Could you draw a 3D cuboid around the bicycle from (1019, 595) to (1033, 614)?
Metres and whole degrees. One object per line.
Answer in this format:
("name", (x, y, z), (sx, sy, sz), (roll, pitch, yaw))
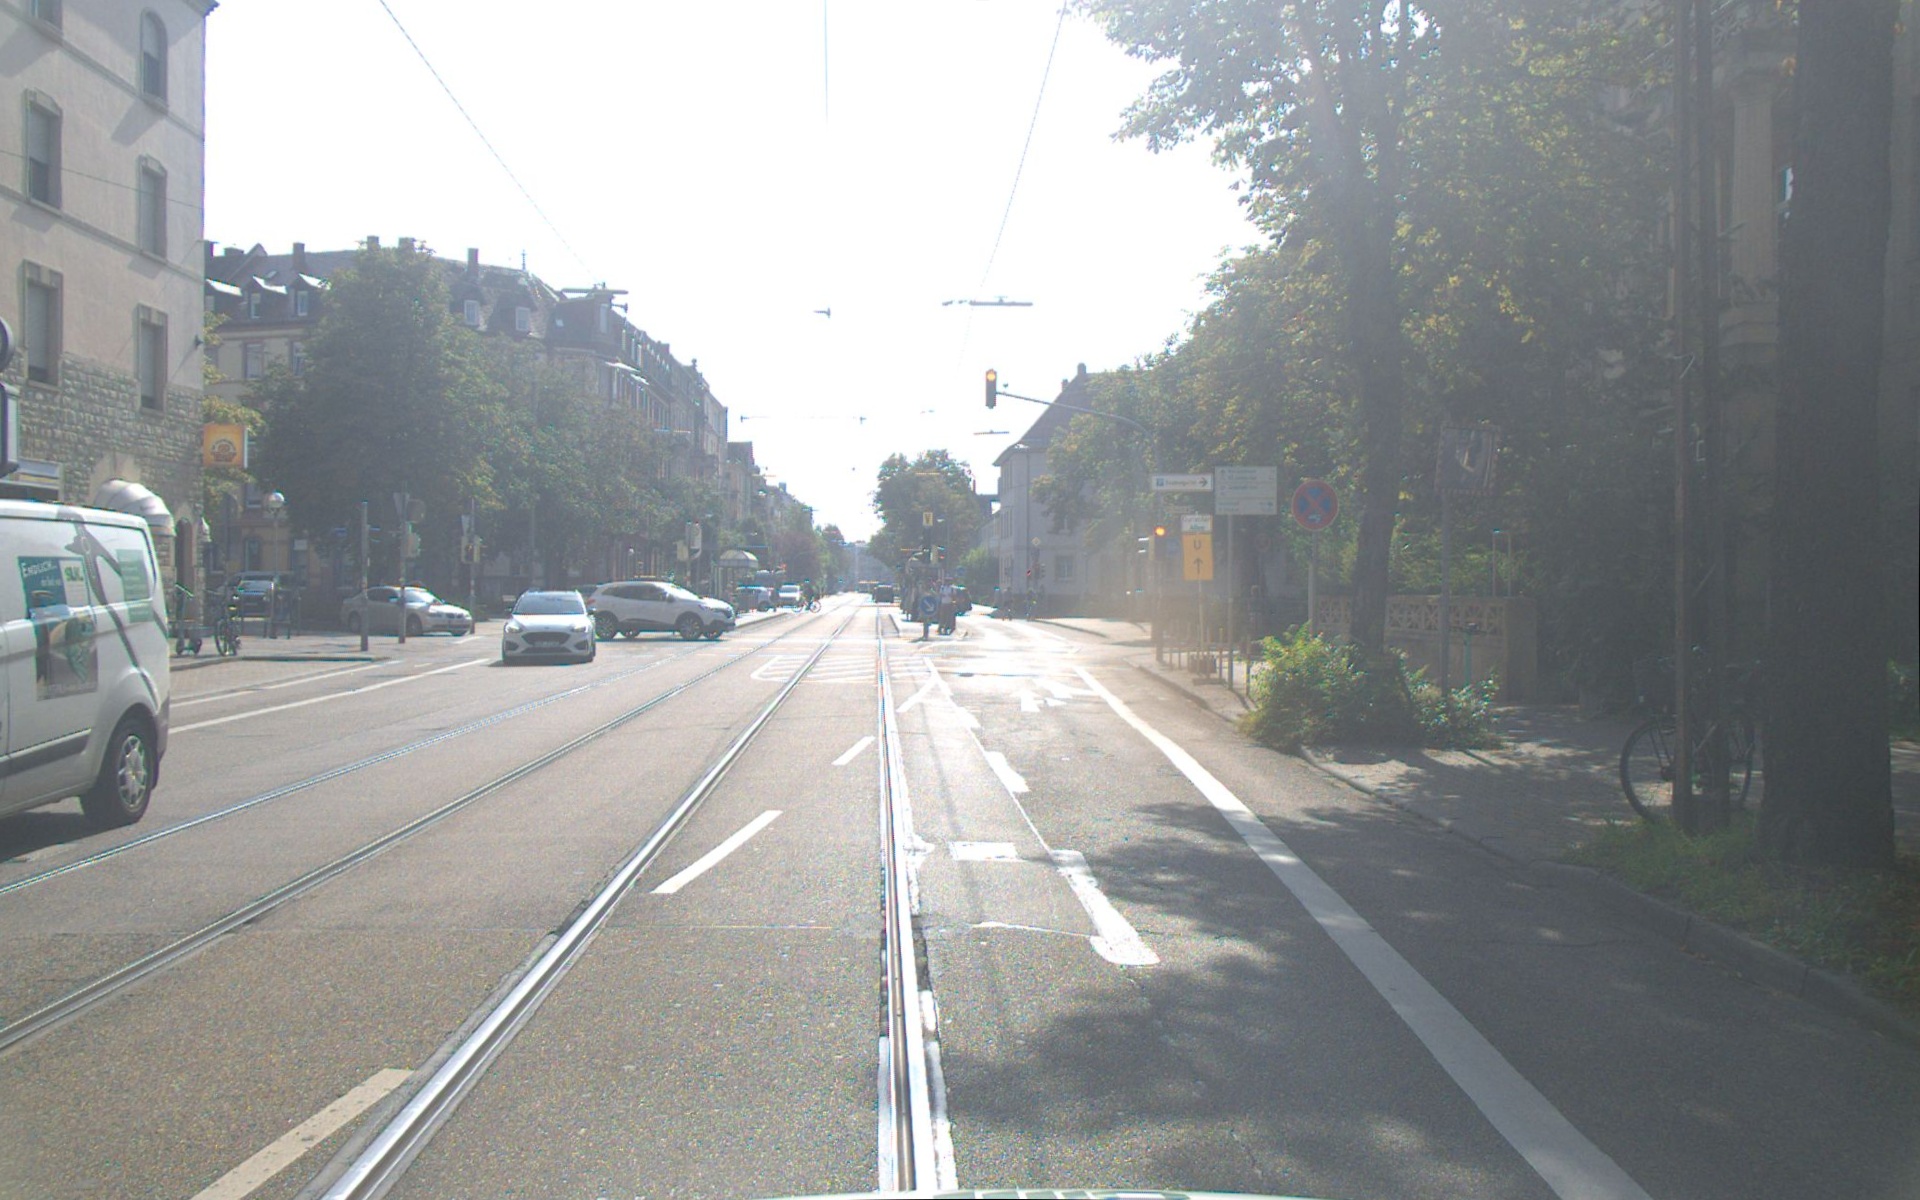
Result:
("bicycle", (3.459, 0.224, 86.511), (0.547, 0.995, 1.855), (0, 0, -4))

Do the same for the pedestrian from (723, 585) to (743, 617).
("pedestrian", (-9.973, 0.052, 72.655), (0.812, 1.382, 0.775), (0, 0, -7))

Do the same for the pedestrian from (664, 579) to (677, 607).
("pedestrian", (-19.021, -0.437, 108.626), (0.521, 1.790, 0.544), (4, 3, 23))

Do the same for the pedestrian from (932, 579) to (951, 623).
("pedestrian", (-0.768, 0.031, 68.591), (0.694, 1.790, 0.534), (3, 2, -2))

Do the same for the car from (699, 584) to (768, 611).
("car", (-13.264, -0.145, 96.830), (3.896, 1.579, 1.993), (0, 0, -13))

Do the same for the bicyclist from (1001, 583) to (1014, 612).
("bicyclist", (2.476, -0.136, 86.928), (0.616, 1.534, 0.678), (0, 0, -4))

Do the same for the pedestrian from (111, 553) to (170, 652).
("pedestrian", (-15.966, 0.045, 32.227), (0.758, 1.892, 0.829), (0, 0, -5))

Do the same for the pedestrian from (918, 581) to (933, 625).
("pedestrian", (-1.434, 0.137, 69.186), (0.532, 1.790, 0.534), (3, 2, -2))

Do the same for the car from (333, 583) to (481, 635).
("car", (-17.023, 0.249, 50.875), (4.687, 1.492, 1.864), (1, 1, 34))

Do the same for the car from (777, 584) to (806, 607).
("car", (-12.258, -0.336, 120.485), (1.765, 1.682, 3.641), (0, 0, -2))

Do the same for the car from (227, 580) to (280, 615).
("car", (-30.801, -0.124, 72.196), (1.837, 1.492, 4.758), (0, 0, -20))

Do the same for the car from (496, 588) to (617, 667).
("car", (-8.475, 0.521, 35.086), (1.836, 1.480, 4.539), (-2, 1, -6))

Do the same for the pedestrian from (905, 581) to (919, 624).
("pedestrian", (-2.040, 0.117, 70.580), (0.521, 1.790, 0.545), (3, 2, -1))

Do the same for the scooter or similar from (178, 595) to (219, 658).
("scooter or similar", (-15.007, 0.515, 32.586), (1.015, 1.218, 0.364), (0, 0, 42))

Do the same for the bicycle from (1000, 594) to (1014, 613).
("bicycle", (2.469, 0.181, 86.931), (0.616, 0.995, 1.769), (0, 0, -4))

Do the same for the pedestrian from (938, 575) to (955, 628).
("pedestrian", (-0.482, 0.065, 59.700), (0.494, 1.865, 0.534), (3, 2, -2))

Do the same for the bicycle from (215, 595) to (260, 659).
("bicycle", (-14.466, 0.521, 33.149), (0.445, 1.248, 1.852), (0, 0, -12))

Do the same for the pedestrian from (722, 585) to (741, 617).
("pedestrian", (-9.910, 0.057, 71.680), (0.812, 1.382, 0.775), (0, 0, -7))

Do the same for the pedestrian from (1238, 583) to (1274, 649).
("pedestrian", (8.076, 0.433, 45.131), (0.736, 1.761, 0.769), (0, 0, -11))

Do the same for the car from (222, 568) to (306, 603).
("car", (-38.206, -0.810, 90.764), (3.904, 1.860, 2.001), (1, 0, 19))

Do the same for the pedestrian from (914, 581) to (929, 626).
("pedestrian", (-1.609, 0.142, 68.369), (0.532, 1.790, 0.534), (3, 2, -2))

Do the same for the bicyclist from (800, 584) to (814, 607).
("bicyclist", (-9.134, -0.287, 98.900), (0.803, 1.351, 0.548), (0, 0, -4))

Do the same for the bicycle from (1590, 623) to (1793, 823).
("bicycle", (5.020, 0.808, 11.296), (1.828, 1.186, 0.497), (-3, -3, -43))

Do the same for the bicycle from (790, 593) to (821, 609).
("bicycle", (-9.223, 0.073, 98.901), (1.814, 0.975, 0.548), (0, 0, -5))

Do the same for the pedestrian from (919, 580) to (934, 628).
("pedestrian", (-1.312, 0.155, 64.371), (0.494, 1.790, 0.534), (3, 2, -2))

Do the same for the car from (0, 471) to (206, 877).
("car", (-5.867, 0.369, 8.745), (1.955, 2.049, 4.853), (0, 1, -6))

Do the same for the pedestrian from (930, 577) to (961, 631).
("pedestrian", (-0.475, 0.134, 55.432), (0.687, 1.754, 0.746), (4, 3, 30))

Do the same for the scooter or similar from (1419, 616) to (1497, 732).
("scooter or similar", (5.568, 0.811, 18.526), (0.546, 1.218, 1.034), (-3, 0, 3))

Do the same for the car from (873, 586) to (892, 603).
("car", (-7.574, -0.568, 162.371), (1.765, 1.682, 3.641), (0, 0, -2))

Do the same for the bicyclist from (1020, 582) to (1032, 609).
("bicyclist", (3.453, -0.241, 86.523), (0.547, 1.441, 0.871), (0, 0, -4))

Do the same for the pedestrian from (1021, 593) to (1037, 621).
("pedestrian", (4.402, 0.440, 105.294), (0.872, 1.771, 0.776), (0, 0, 18))

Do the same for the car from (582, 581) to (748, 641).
("car", (-8.440, 0.285, 47.470), (4.225, 1.659, 2.002), (0, 0, 13))

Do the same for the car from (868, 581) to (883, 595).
("car", (-10.212, -1.447, 199.687), (1.765, 1.682, 3.641), (0, 0, -2))
